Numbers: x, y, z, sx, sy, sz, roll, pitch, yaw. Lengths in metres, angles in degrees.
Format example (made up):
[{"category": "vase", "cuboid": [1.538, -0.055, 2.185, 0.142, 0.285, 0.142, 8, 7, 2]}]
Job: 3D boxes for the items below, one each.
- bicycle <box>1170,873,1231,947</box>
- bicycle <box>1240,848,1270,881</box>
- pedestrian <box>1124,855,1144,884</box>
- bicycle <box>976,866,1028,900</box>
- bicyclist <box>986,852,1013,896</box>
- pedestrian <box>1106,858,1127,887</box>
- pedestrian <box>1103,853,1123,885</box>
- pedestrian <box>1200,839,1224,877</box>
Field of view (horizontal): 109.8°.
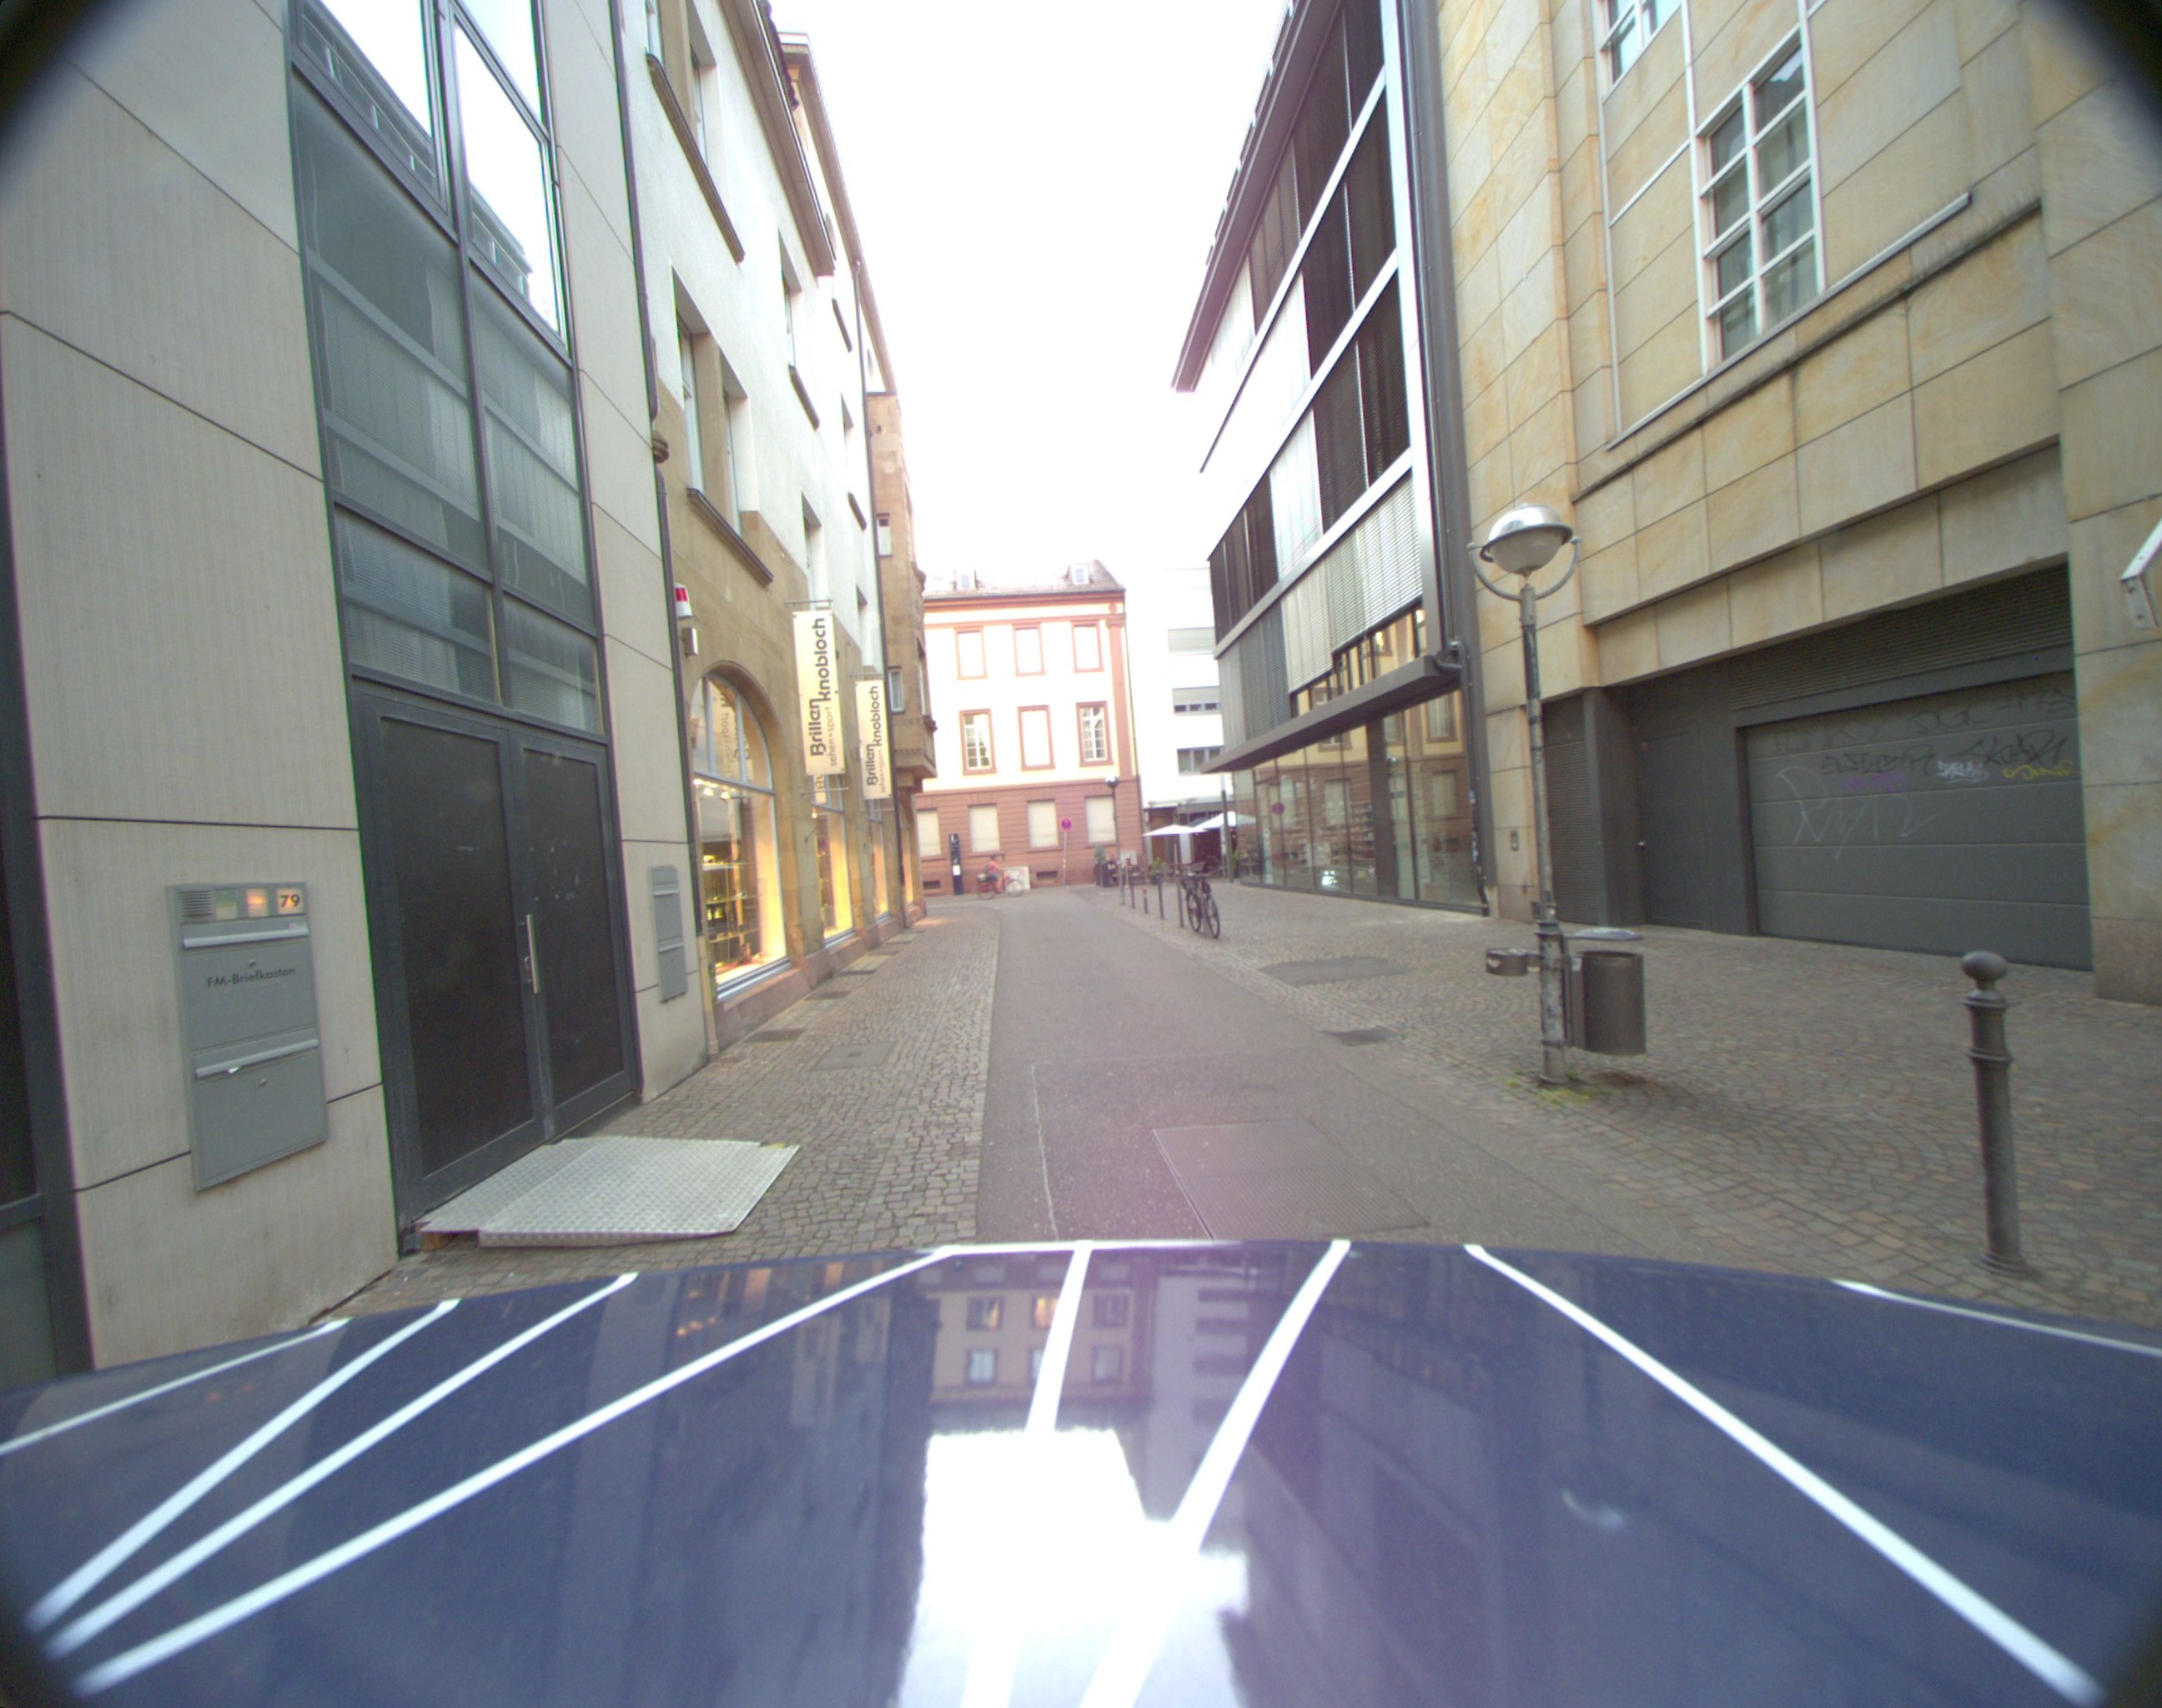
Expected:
[{"category": "bicycle", "cuboid": [2.040, 0.931, 13.211, 0.411, 1.126, 1.929, -5, 1, -9]}, {"category": "bicycle", "cuboid": [6.416, 0.402, 28.068, 0.467, 1.129, 1.702, -5, -2, -5]}, {"category": "pedestrian", "cuboid": [2.327, 0.682, 33.706, 0.673, 1.177, 0.792, -4, 2, -7]}, {"category": "bicycle", "cuboid": [-3.167, 1.171, 30.701, 1.980, 1.143, 0.578, -5, 1, -4]}, {"category": "bicyclist", "cuboid": [-3.301, 0.793, 30.720, 0.900, 1.694, 0.630, -5, 1, -4]}, {"category": "pedestrian", "cuboid": [1.519, 0.775, 32.659, 0.674, 1.177, 0.792, -5, 2, -10]}, {"category": "pedestrian", "cuboid": [1.419, 0.670, 34.137, 0.673, 1.324, 0.792, -4, 2, -7]}, {"category": "pedestrian", "cuboid": [5.901, 0.182, 34.206, 0.725, 1.639, 0.792, -5, 1, -10]}]
